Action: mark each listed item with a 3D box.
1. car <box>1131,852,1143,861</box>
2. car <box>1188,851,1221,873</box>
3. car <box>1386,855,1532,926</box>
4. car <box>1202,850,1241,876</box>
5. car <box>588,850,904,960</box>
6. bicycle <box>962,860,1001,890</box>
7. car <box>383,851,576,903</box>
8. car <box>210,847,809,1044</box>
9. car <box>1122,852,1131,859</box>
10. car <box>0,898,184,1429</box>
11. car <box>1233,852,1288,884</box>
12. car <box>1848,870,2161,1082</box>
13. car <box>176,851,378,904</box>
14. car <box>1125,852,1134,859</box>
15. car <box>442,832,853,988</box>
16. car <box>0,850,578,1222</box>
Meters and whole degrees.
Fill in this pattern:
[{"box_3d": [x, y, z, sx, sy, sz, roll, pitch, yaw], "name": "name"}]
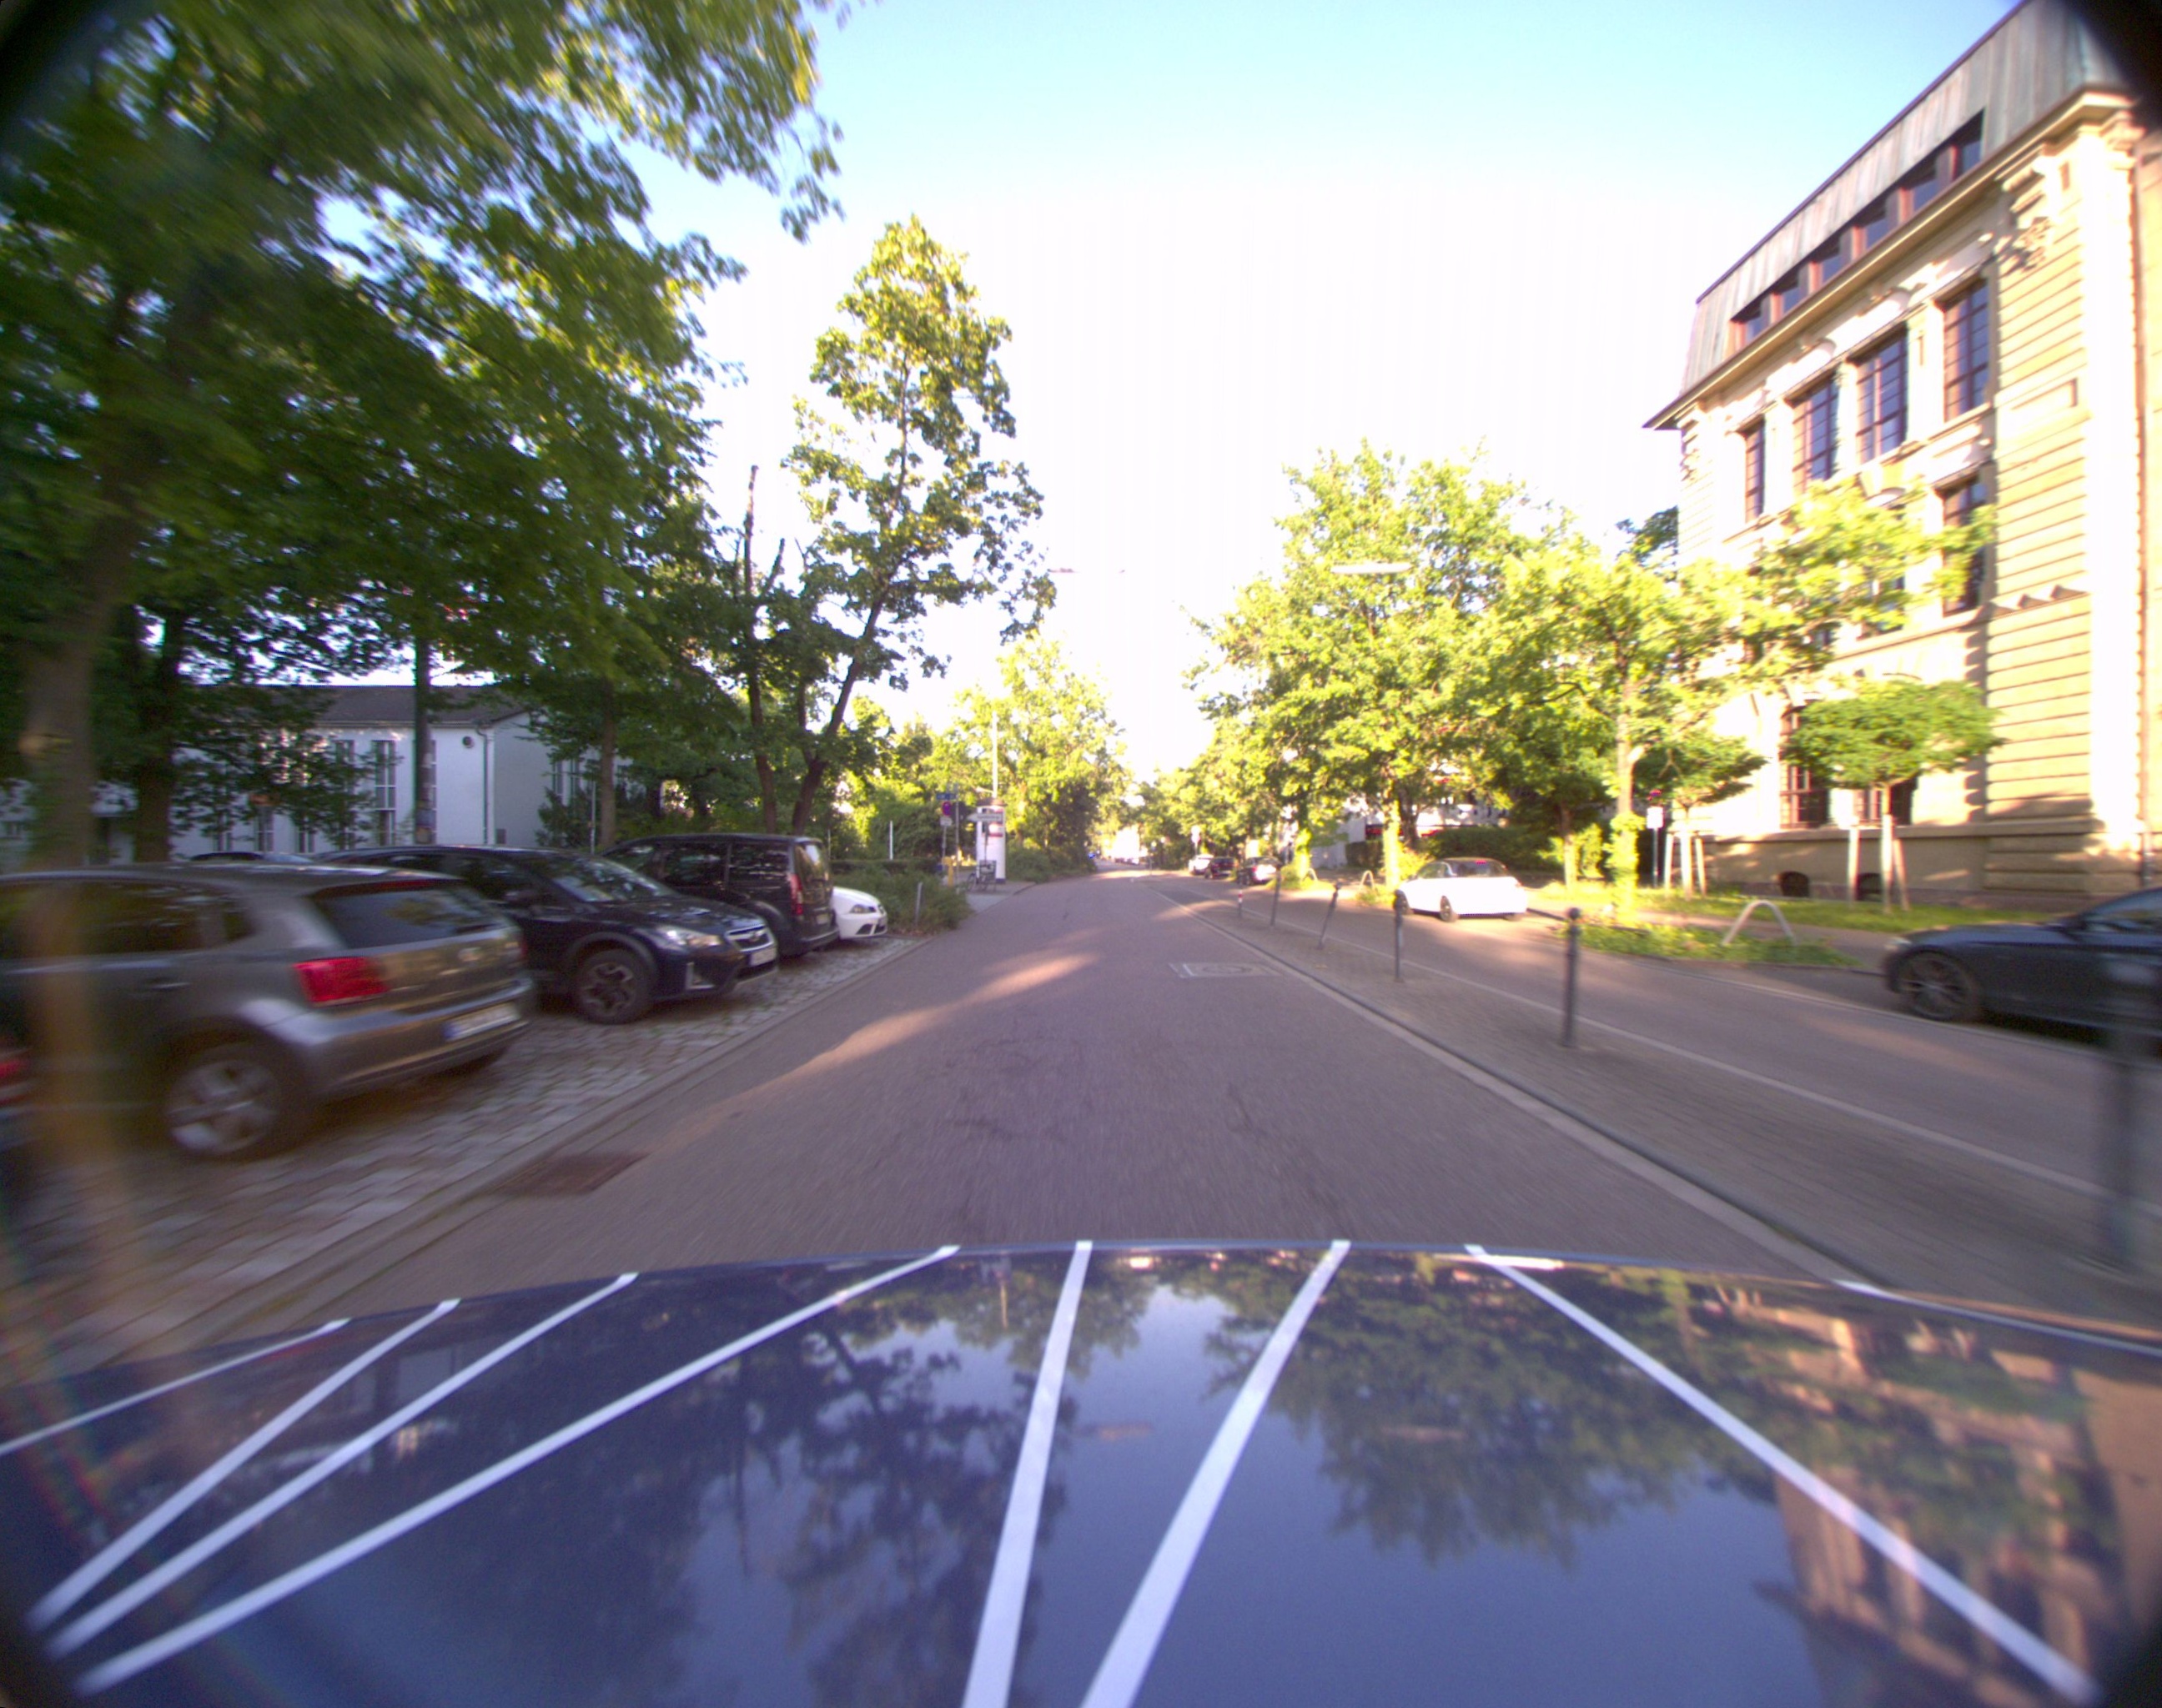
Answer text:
[{"box_3d": [10.002, 0.408, 135.302, 1.776, 1.474, 4.108, -1, 0, 0], "name": "car"}, {"box_3d": [9.377, 0.564, 57.960, 1.808, 1.607, 4.146, 0, 1, 0], "name": "car"}, {"box_3d": [9.063, 0.802, 18.586, 1.622, 1.487, 3.924, -1, 0, 0], "name": "car"}, {"box_3d": [9.153, 0.550, 49.726, 1.784, 1.607, 4.146, -1, 1, 0], "name": "car"}, {"box_3d": [-5.325, 0.773, 12.472, 4.374, 1.545, 1.727, 2, 1, 0], "name": "car"}, {"box_3d": [-4.020, 0.842, 30.818, 0.493, 1.141, 2.289, 3, 0, 20], "name": "bicycle"}, {"box_3d": [-17.379, 0.634, 22.109, 4.149, 1.434, 1.835, 0, 1, 0], "name": "car"}, {"box_3d": [-5.202, 0.778, 7.408, 4.374, 1.545, 1.876, 2, 1, 0], "name": "car"}, {"box_3d": [10.487, 0.291, 174.440, 1.776, 1.559, 4.108, -1, 0, 0], "name": "car"}, {"box_3d": [-5.366, 0.874, 1.709, 4.374, 1.528, 1.920, 2, 1, 0], "name": "car"}, {"box_3d": [9.157, 0.654, 39.147, 1.806, 1.502, 4.862, -1, 1, 1], "name": "car"}, {"box_3d": [8.781, 0.927, 5.714, 1.622, 1.487, 4.377, -1, 0, 0], "name": "car"}, {"box_3d": [-23.163, 0.662, 22.007, 3.997, 1.468, 1.736, 0, 1, 0], "name": "car"}, {"box_3d": [10.523, 0.310, 165.089, 1.776, 1.559, 4.108, -1, 0, 0], "name": "car"}, {"box_3d": [-5.574, 0.676, 10.223, 4.374, 1.770, 1.920, 2, 1, 0], "name": "car"}, {"box_3d": [-5.701, 0.797, 4.308, 4.374, 1.528, 1.920, 2, 1, 0], "name": "car"}]
